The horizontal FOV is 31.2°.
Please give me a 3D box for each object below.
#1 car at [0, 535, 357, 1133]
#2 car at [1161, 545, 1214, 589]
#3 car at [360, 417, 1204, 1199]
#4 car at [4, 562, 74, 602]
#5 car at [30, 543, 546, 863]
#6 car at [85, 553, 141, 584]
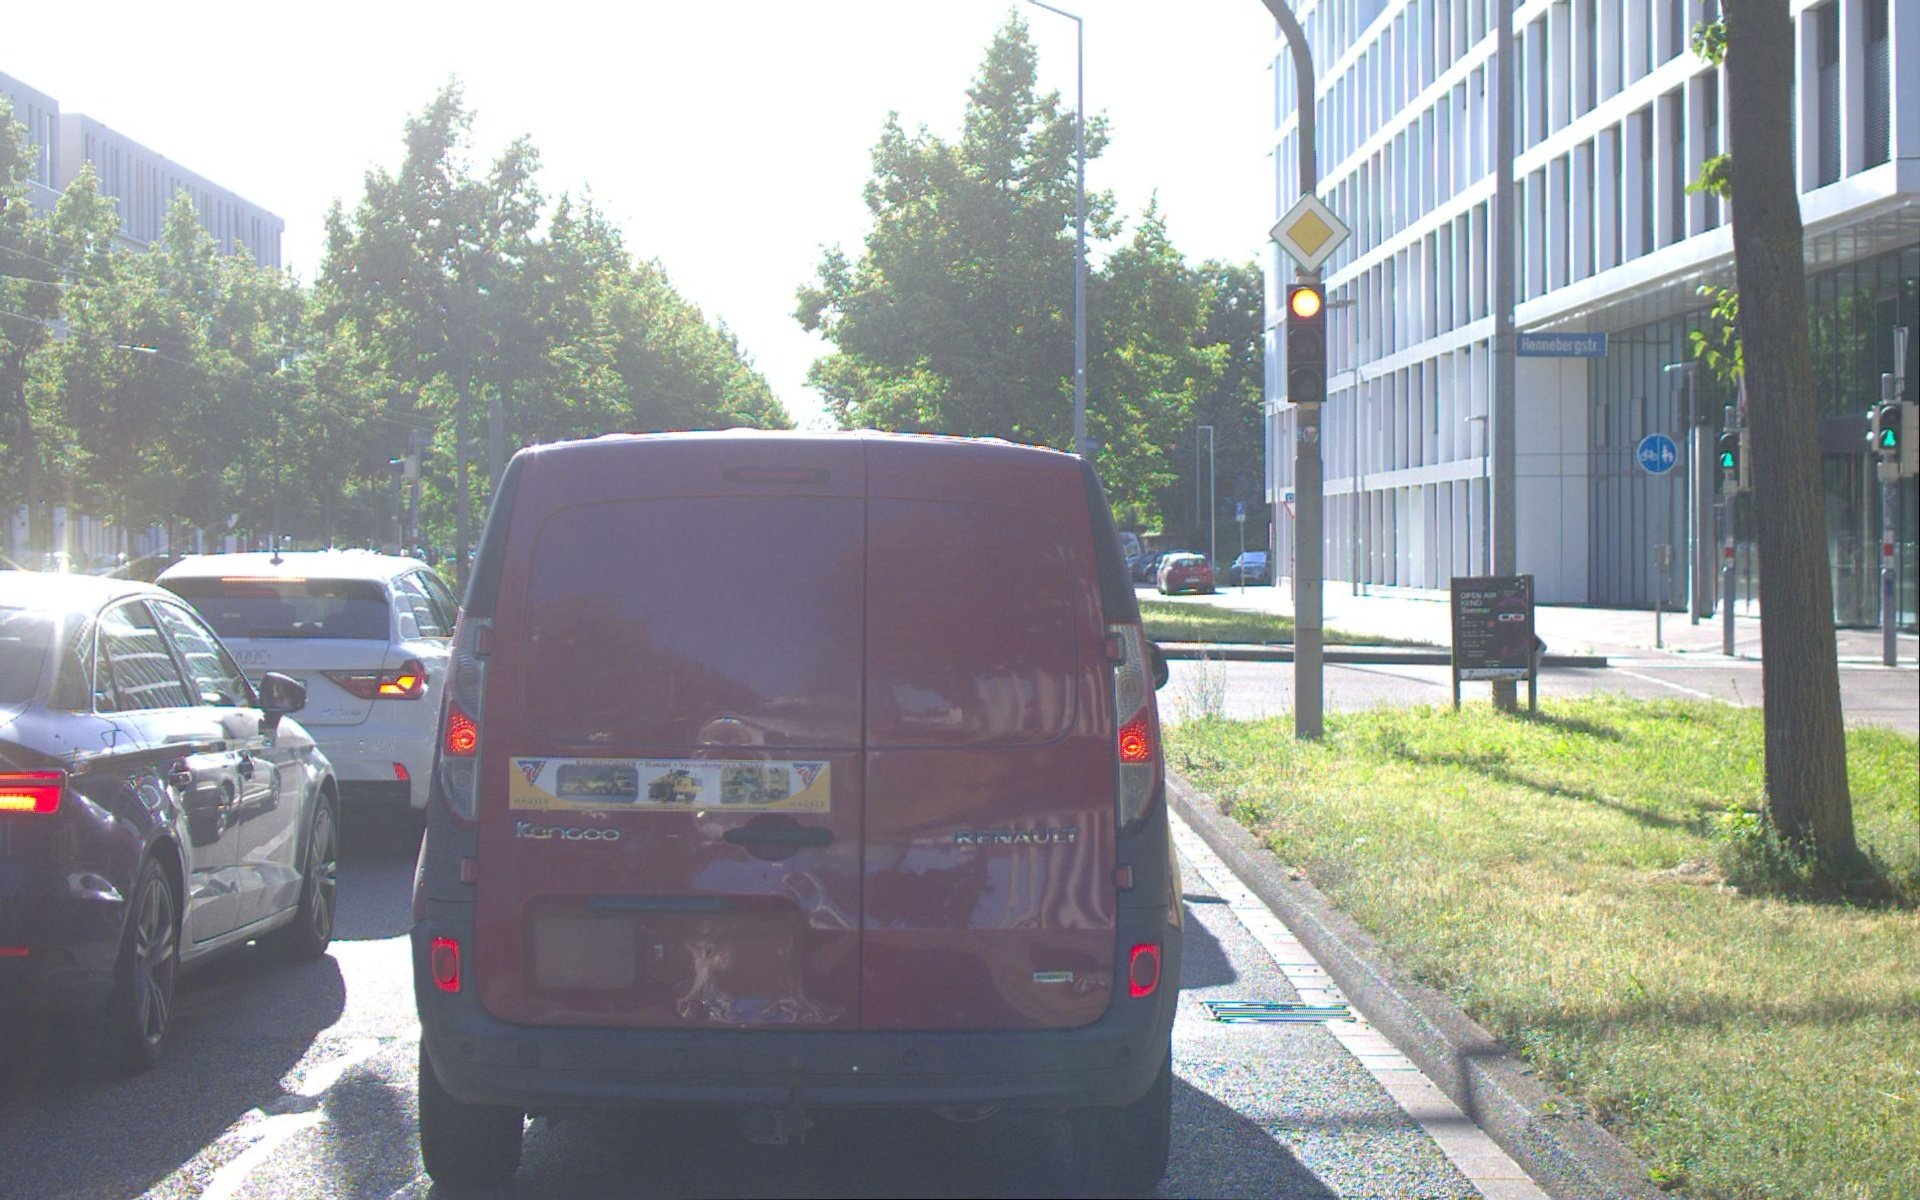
[{"bbox_3d":[-3.163,0.558,10.806,1.808,1.522,4.113,0,1,0],"label":"car"},{"bbox_3d":[8.458,-1.254,127.873,1.758,1.606,3.903,0,1,1],"label":"car"},{"bbox_3d":[-0.377,0.463,9.436,1.808,1.788,4.113,0,1,0],"label":"car"},{"bbox_3d":[-35.867,-0.711,134.023,1.776,1.523,3.806,0,1,-1],"label":"car"},{"bbox_3d":[-3.269,0.430,17.512,1.808,1.430,4.113,0,1,0],"label":"car"},{"bbox_3d":[-36.765,-1.374,149.262,1.580,1.337,3.712,0,1,-1],"label":"car"}]
